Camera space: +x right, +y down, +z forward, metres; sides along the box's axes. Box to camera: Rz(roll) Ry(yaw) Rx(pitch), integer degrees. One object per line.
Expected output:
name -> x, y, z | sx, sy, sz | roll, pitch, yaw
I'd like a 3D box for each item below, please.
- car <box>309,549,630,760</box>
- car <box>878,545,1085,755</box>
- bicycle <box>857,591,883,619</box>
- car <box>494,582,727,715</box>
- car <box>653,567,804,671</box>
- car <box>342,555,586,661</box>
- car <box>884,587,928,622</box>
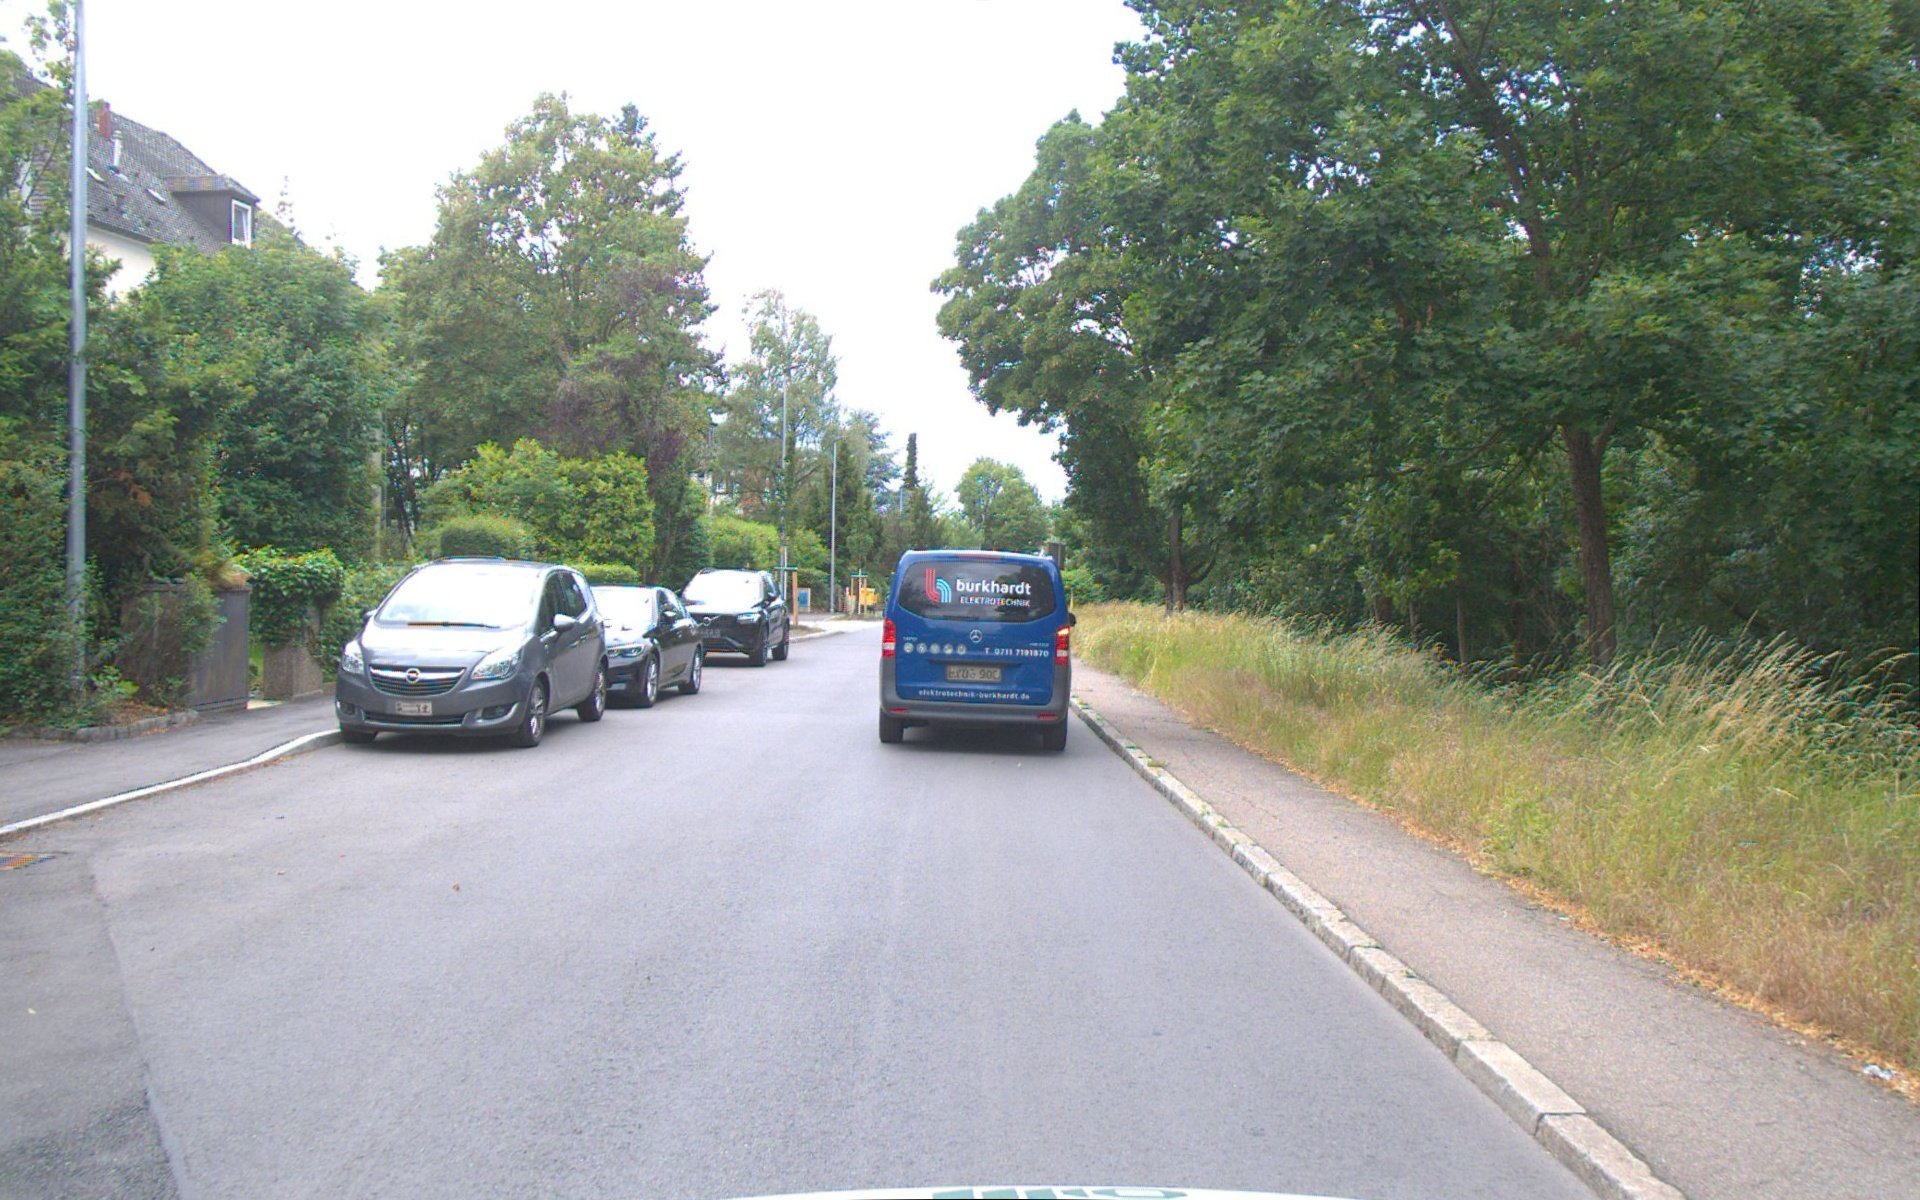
car -> -4.451, 0.433, 15.771 | 1.696, 1.661, 4.568 | 2, 0, -1
car -> 0.102, 0.405, 17.149 | 1.851, 1.876, 3.998 | 2, 2, -3
bicycle -> -4.368, 0.249, 80.336 | 0.887, 1.273, 2.917 | 4, 0, 3
car -> -4.316, 0.545, 21.222 | 1.718, 1.437, 4.899 | 2, 0, 2
car -> -4.348, 0.335, 31.946 | 1.933, 1.767, 5.191 | 2, 0, 2
car -> -8.678, 0.128, 29.040 | 3.613, 1.666, 1.830 | 2, 0, 13
car -> -2.683, 0.212, 83.207 | 1.798, 1.659, 4.302 | 3, 0, 3
